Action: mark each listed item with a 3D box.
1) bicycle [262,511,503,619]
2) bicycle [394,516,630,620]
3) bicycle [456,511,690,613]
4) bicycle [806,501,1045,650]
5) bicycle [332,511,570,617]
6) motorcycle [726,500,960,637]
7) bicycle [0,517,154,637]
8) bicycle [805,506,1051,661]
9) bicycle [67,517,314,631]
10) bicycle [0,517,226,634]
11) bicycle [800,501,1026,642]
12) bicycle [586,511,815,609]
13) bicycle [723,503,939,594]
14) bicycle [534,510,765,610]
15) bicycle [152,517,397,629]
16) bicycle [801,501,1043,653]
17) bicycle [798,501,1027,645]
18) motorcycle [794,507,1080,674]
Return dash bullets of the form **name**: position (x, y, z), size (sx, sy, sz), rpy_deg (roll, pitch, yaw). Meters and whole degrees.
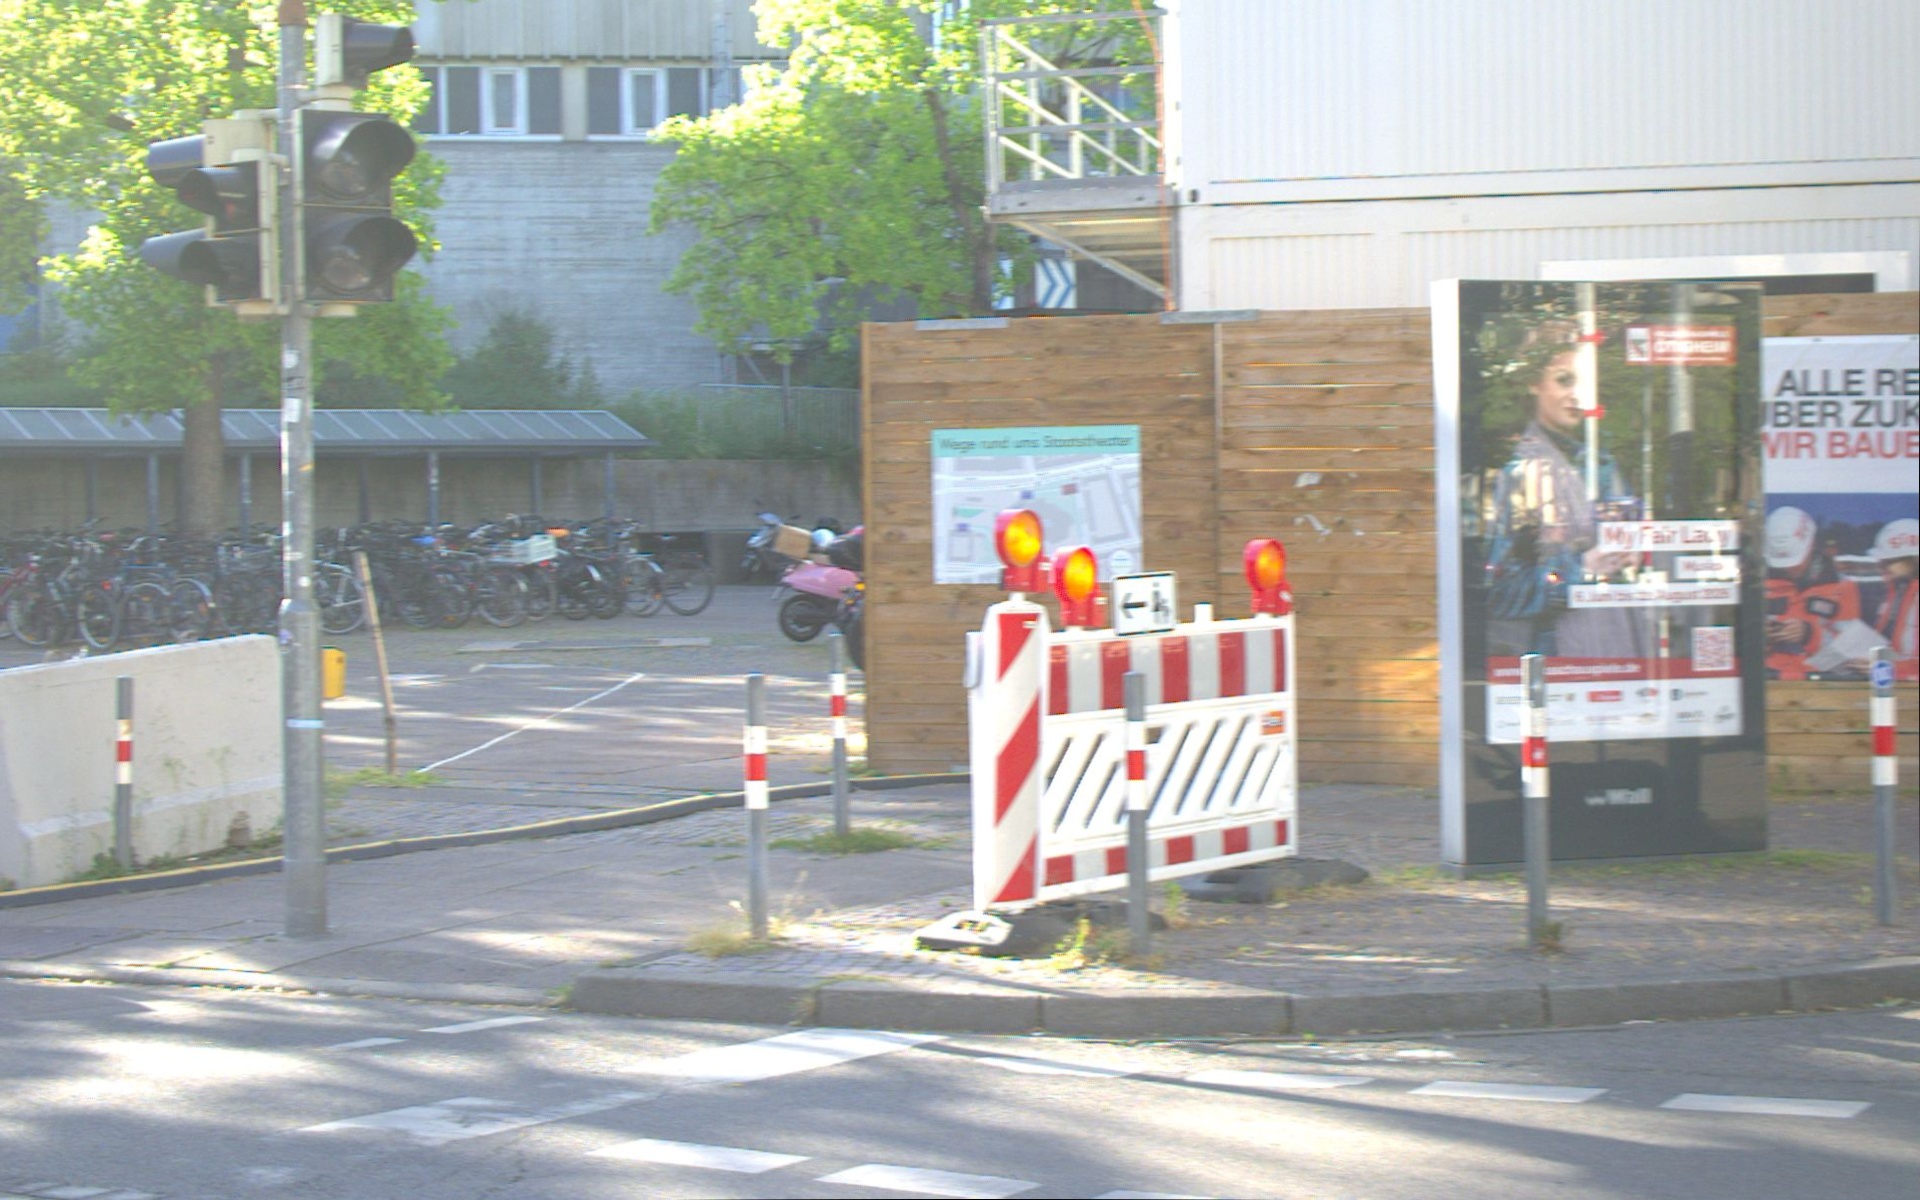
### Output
- **bicycle**: position (-6.467, -0.394, 38.348), size (3.086, 1.143, 0.820), rpy_deg (0, 3, 40)
- **bicycle**: position (-5.212, -0.375, 39.814), size (3.086, 1.143, 0.820), rpy_deg (0, 3, 40)
- **bicycle**: position (-4.586, -0.449, 40.559), size (3.086, 1.143, 0.820), rpy_deg (0, 3, 40)
- **bicycle**: position (-0.313, -0.224, 30.470), size (2.043, 1.253, 0.543), rpy_deg (-2, 2, -6)
- **bicycle**: position (-5.818, -0.414, 39.153), size (3.086, 1.143, 0.820), rpy_deg (0, 3, 40)
- **motorcycle**: position (-1.143, -0.316, 33.390), size (2.204, 1.253, 0.543), rpy_deg (-2, 2, -6)
- **bicycle**: position (-9.408, -0.236, 34.589), size (3.086, 1.143, 0.820), rpy_deg (0, 3, 40)
- **bicycle**: position (-0.277, -0.151, 29.408), size (2.043, 1.253, 0.471), rpy_deg (-2, 2, -6)
- **bicycle**: position (-8.156, -0.279, 36.326), size (3.086, 1.143, 0.820), rpy_deg (0, 3, 40)
- **bicycle**: position (-8.873, -0.257, 35.429), size (3.086, 1.143, 0.820), rpy_deg (0, 3, 40)
- **bicycle**: position (-0.445, -0.272, 32.256), size (2.043, 1.253, 0.543), rpy_deg (-2, 2, -6)
- **bicycle**: position (-3.208, -0.490, 42.186), size (3.086, 1.143, 0.820), rpy_deg (0, 3, 40)
- **bicycle**: position (-1.729, -0.675, 45.441), size (3.086, 1.143, 0.820), rpy_deg (0, 3, 40)
- **bicycle**: position (-3.764, -0.485, 41.434), size (3.086, 1.143, 0.820), rpy_deg (0, 3, 40)
- **bicycle**: position (-7.422, -0.299, 37.112), size (3.086, 1.143, 0.820), rpy_deg (0, 3, 40)
- **bicycle**: position (-0.334, -0.209, 29.916), size (2.043, 1.253, 0.471), rpy_deg (-2, 2, -6)
- **bicycle**: position (-0.443, -0.256, 31.659), size (2.043, 1.253, 0.543), rpy_deg (-2, 2, -6)
- **motorcycle**: position (-0.189, -0.085, 27.331), size (2.204, 1.253, 0.543), rpy_deg (-2, 2, -6)
